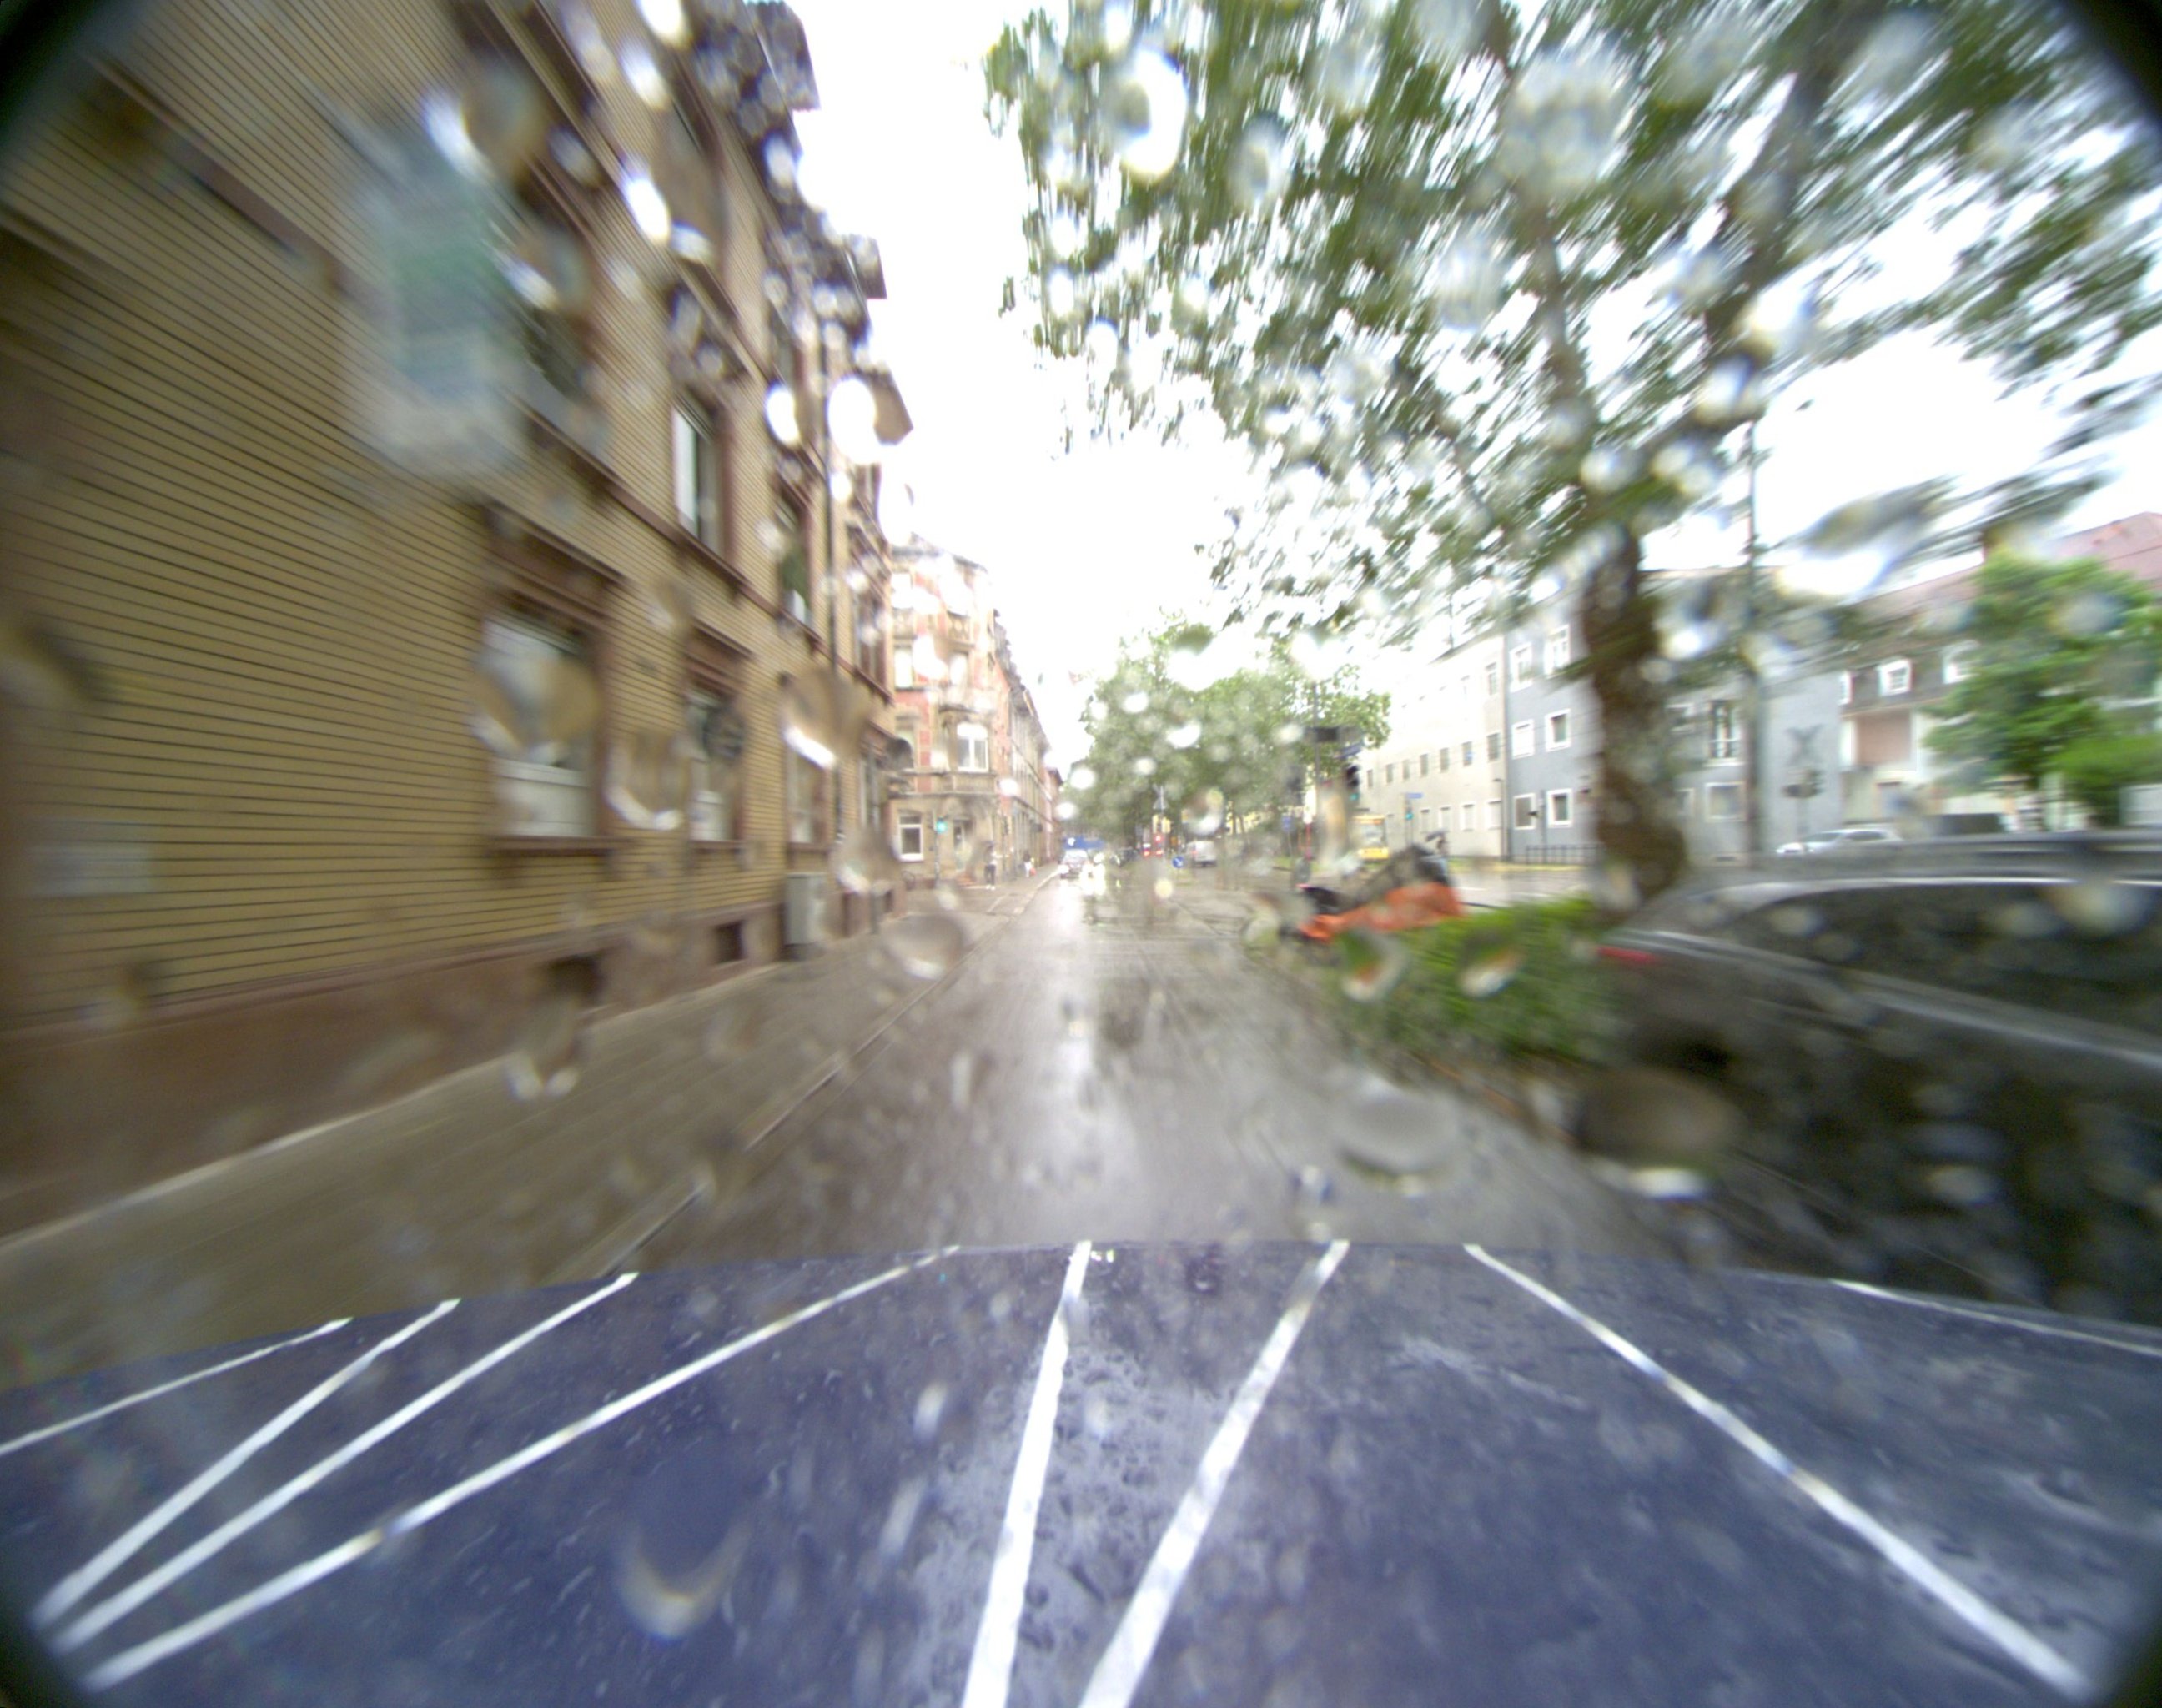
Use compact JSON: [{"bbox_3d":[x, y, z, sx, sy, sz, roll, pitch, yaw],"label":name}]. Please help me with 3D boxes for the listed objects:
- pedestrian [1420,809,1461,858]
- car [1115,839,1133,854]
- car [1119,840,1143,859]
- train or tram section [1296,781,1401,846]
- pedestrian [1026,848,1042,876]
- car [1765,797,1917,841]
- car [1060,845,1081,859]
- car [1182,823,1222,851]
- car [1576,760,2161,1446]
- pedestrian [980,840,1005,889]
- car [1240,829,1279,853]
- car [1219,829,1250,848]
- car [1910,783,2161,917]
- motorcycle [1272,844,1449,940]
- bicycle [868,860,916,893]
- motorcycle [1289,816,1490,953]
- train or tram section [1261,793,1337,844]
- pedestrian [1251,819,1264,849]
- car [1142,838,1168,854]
[{"bbox_3d":[13.436,-0.774,28.444,0.938,1.790,1.206,-1,2,0],"label":"pedestrian"},{"bbox_3d":[4.660,-0.835,81.578,1.663,1.567,3.423,-2,1,7],"label":"car"},{"bbox_3d":[4.050,-0.405,62.056,1.732,1.473,4.005,-2,1,1],"label":"car"},{"bbox_3d":[17.011,-2.445,49.487,2.907,3.621,11.549,-2,1,1],"label":"train or tram section"},{"bbox_3d":[-2.761,0.454,44.670,0.849,1.565,0.576,4,1,1],"label":"pedestrian"},{"bbox_3d":[29.458,-1.341,29.526,4.088,1.519,1.887,-2,1,-2],"label":"car"},{"bbox_3d":[-1.149,-0.201,83.262,1.976,1.359,4.161,3,1,3],"label":"car"},{"bbox_3d":[8.471,-1.186,53.481,1.937,1.839,4.064,-2,1,-4],"label":"car"},{"bbox_3d":[3.243,0.500,1.209,1.901,1.476,4.621,-3,1,1],"label":"car"},{"bbox_3d":[-3.509,0.416,30.211,0.787,1.903,0.929,2,2,0],"label":"pedestrian"},{"bbox_3d":[12.431,-0.888,53.043,1.676,1.500,3.973,-5,1,0],"label":"car"},{"bbox_3d":[12.386,-1.238,61.443,1.676,1.377,3.705,-5,1,0],"label":"car"},{"bbox_3d":[12.638,-0.078,8.547,1.908,1.455,4.388,-2,1,2],"label":"car"},{"bbox_3d":[3.889,0.495,10.698,0.870,1.202,2.136,-4,2,-45],"label":"motorcycle"},{"bbox_3d":[-7.448,0.884,30.014,1.691,1.215,0.678,-3,2,-6],"label":"bicycle"},{"bbox_3d":[3.707,0.333,9.279,2.103,1.491,0.773,-1,2,44],"label":"motorcycle"},{"bbox_3d":[17.226,-2.696,61.039,2.907,3.621,11.549,-2,1,1],"label":"train or tram section"},{"bbox_3d":[11.283,-1.280,48.632,0.663,1.845,0.635,-2,1,1],"label":"pedestrian"},{"bbox_3d":[8.074,-0.897,83.181,2.062,1.609,4.671,-2,1,-4],"label":"car"}]
